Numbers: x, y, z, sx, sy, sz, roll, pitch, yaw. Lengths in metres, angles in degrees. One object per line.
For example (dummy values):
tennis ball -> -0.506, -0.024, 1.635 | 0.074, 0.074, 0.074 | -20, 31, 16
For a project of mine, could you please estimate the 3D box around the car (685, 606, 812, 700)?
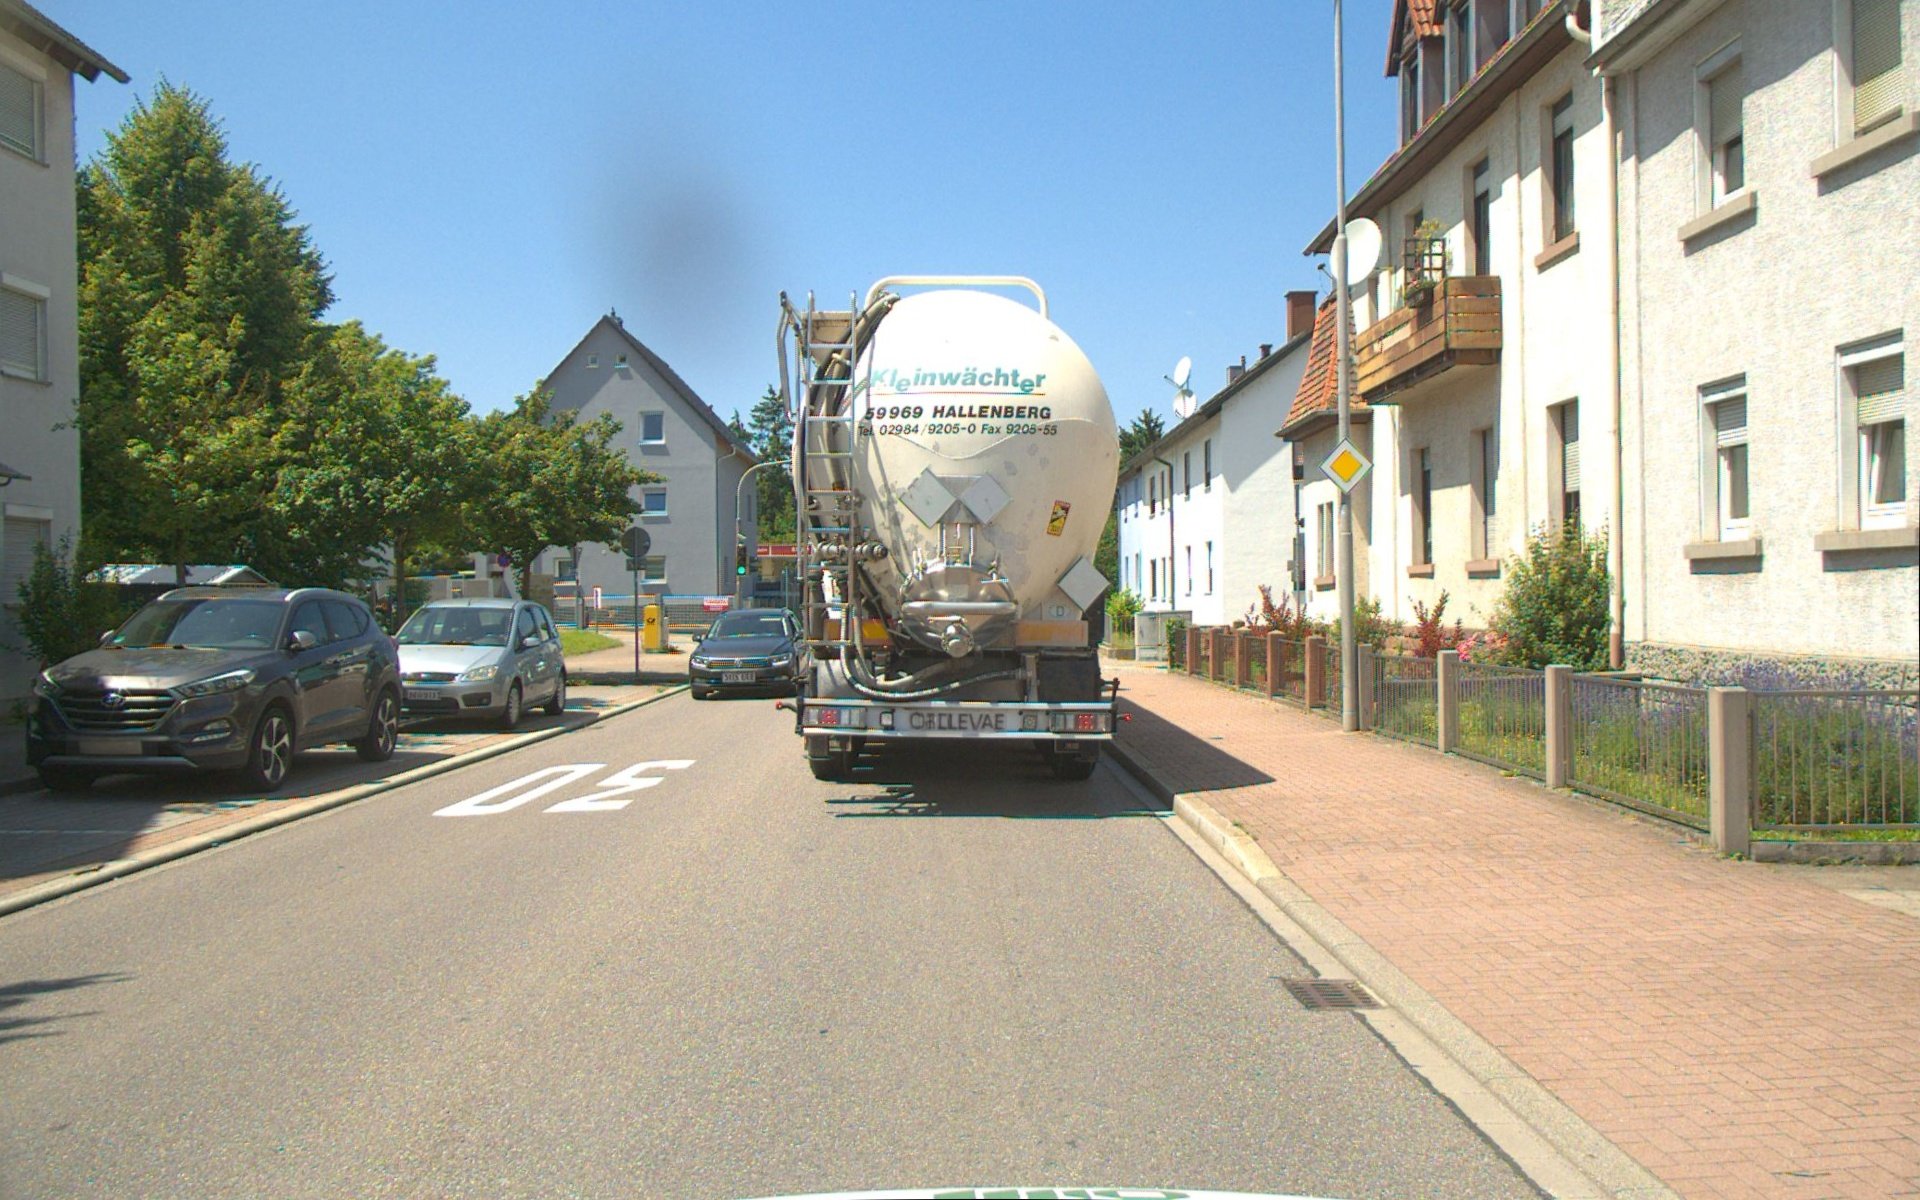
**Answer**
car -> -3.635, 0.869, 29.077 | 1.748, 1.481, 4.257 | -2, 0, -1

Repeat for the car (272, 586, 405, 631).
car -> -24.067, 0.312, 64.074 | 4.526, 1.680, 1.742 | -1, 0, 7

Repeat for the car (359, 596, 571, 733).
car -> -6.282, 0.766, 21.403 | 1.663, 1.608, 3.836 | 0, 0, -1

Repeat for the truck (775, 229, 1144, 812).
truck -> -0.045, -0.553, 16.393 | 2.587, 4.086, 9.559 | 0, 0, -1

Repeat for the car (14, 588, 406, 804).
car -> -6.406, 0.738, 14.649 | 1.657, 1.648, 3.997 | 0, 0, 0
